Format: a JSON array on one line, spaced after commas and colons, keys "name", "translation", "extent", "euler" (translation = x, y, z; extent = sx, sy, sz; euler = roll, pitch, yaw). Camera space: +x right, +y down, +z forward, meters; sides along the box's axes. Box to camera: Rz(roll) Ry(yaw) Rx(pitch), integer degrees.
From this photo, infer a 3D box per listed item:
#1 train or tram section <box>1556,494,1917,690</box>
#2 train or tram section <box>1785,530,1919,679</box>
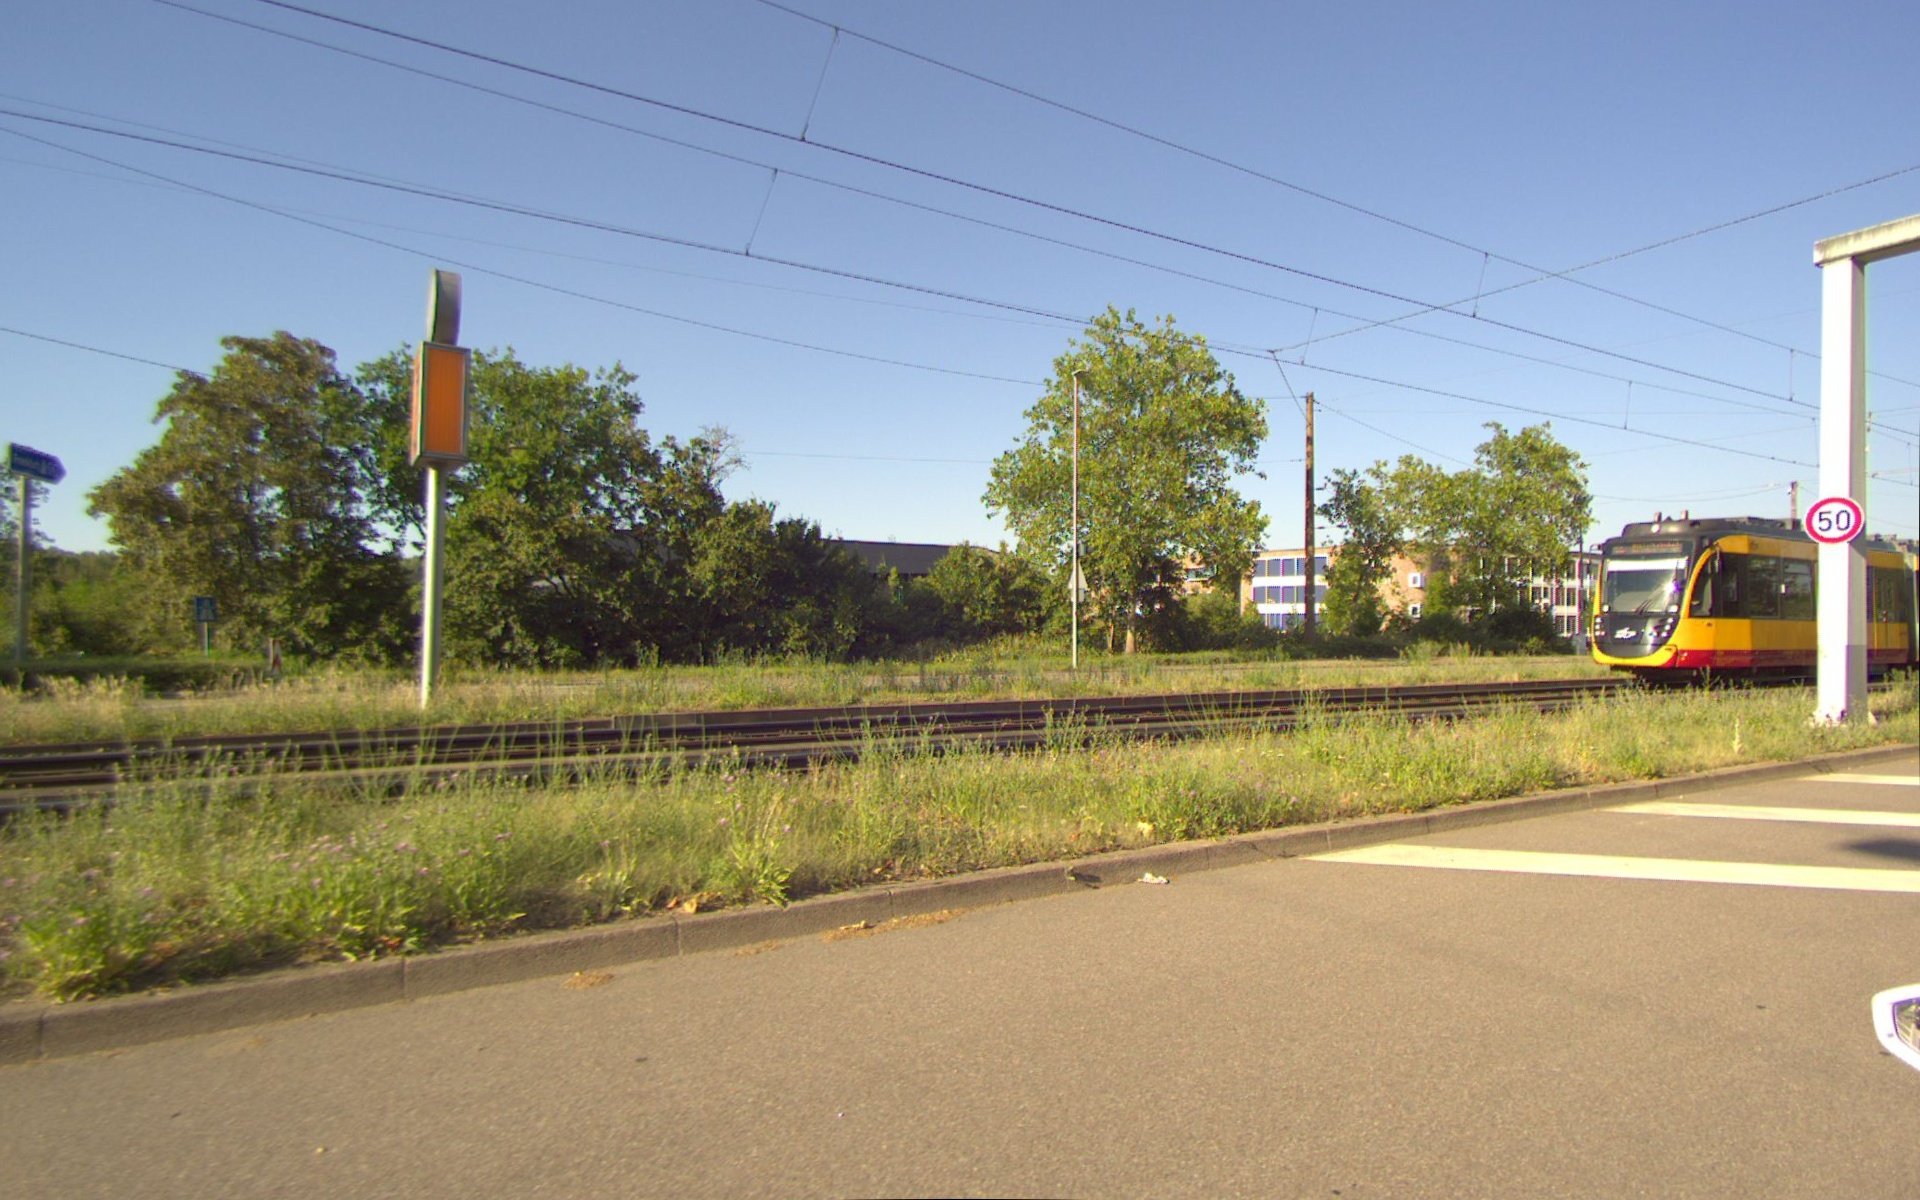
[{"name": "train or tram section", "translation": [19.421, -0.033, 24.662], "extent": [12.192, 3.955, 2.789], "euler": [2, 0, -31]}, {"name": "train or tram section", "translation": [29.693, 0.239, 30.951], "extent": [11.854, 3.955, 2.789], "euler": [2, 0, -31]}]
